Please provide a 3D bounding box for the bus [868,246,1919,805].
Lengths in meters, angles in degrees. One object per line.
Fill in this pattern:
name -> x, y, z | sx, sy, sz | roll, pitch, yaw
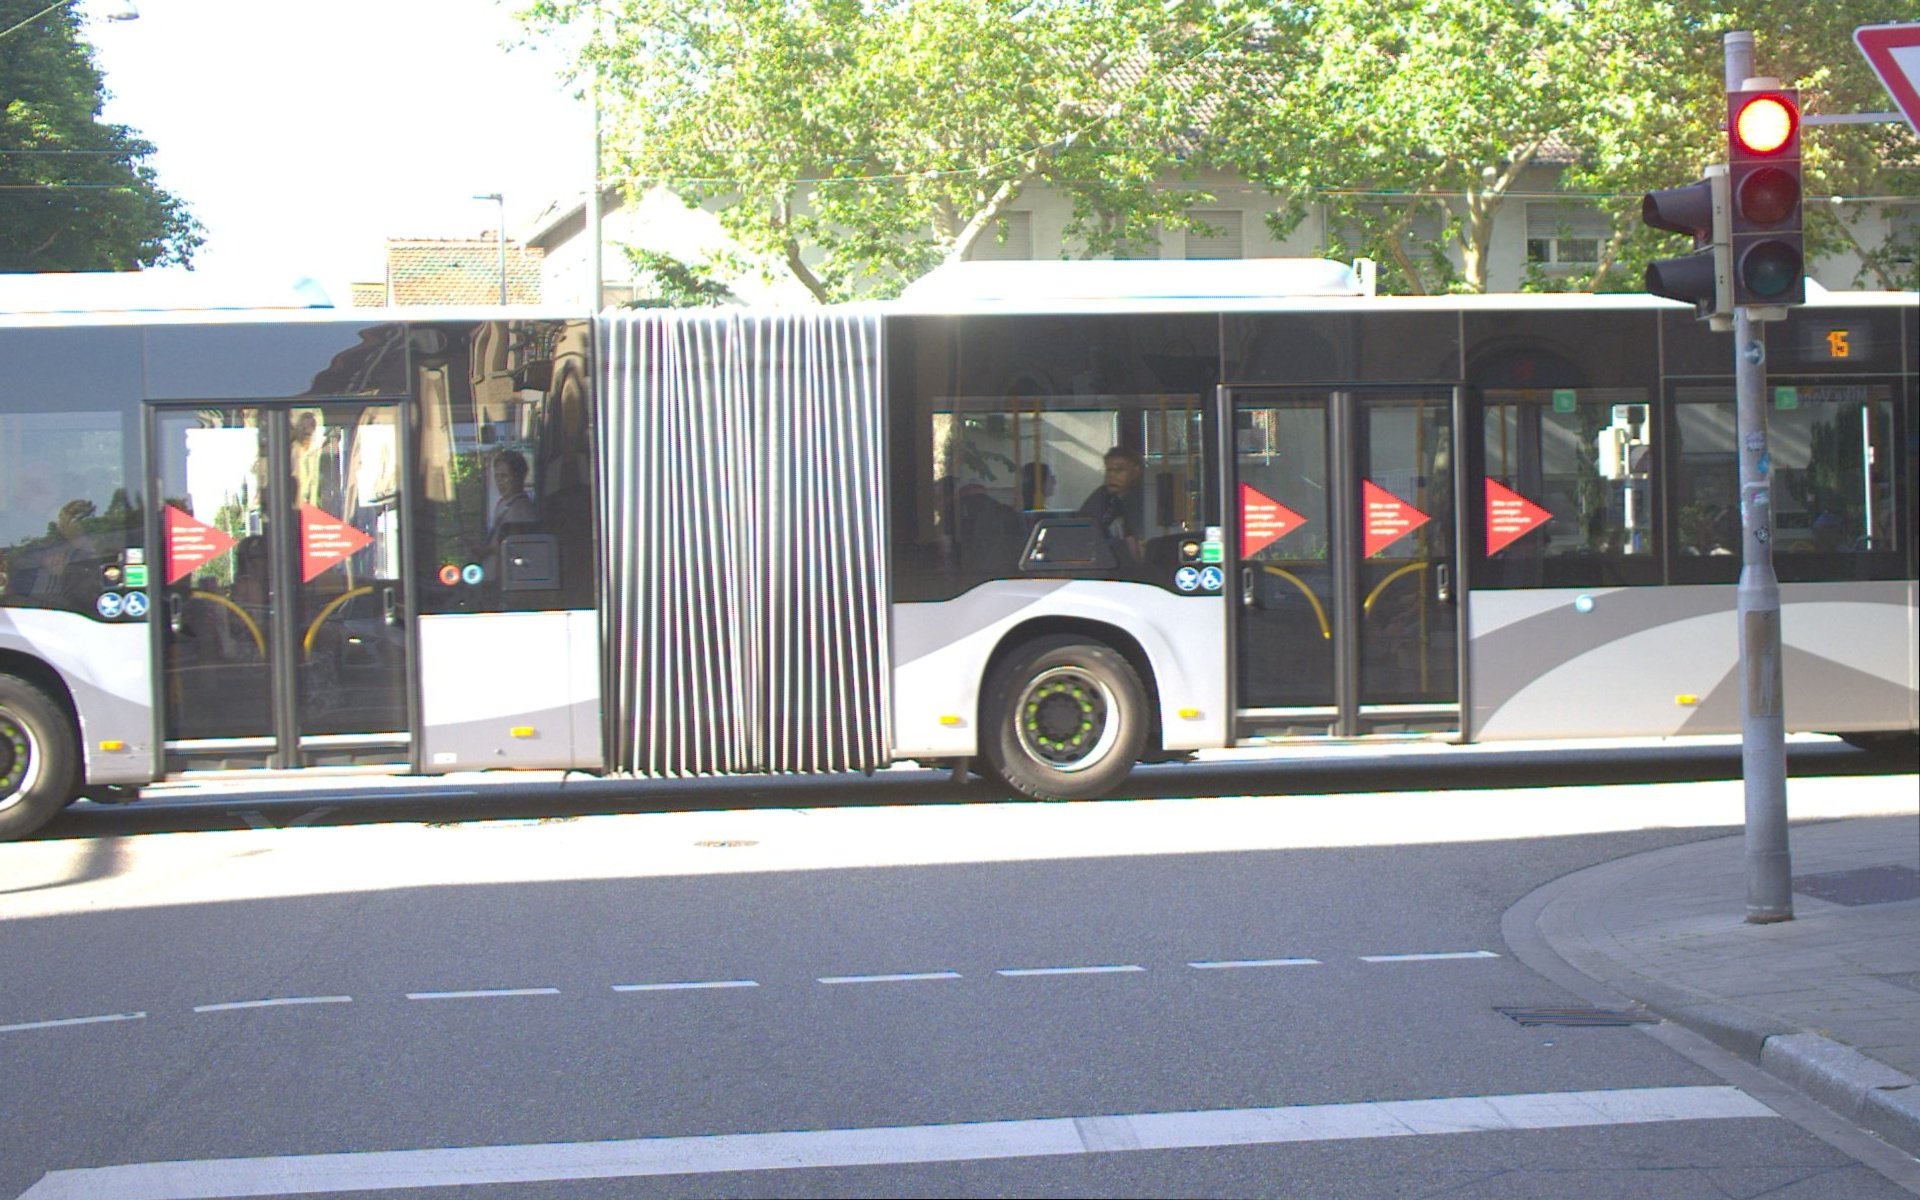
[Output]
bus -> 4.399, -0.509, 21.217 | 9.618, 3.086, 2.746 | -1, 1, -8

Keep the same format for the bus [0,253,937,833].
bus -> -4.716, -0.322, 19.904 | 8.821, 3.086, 2.746 | -1, 1, -8
